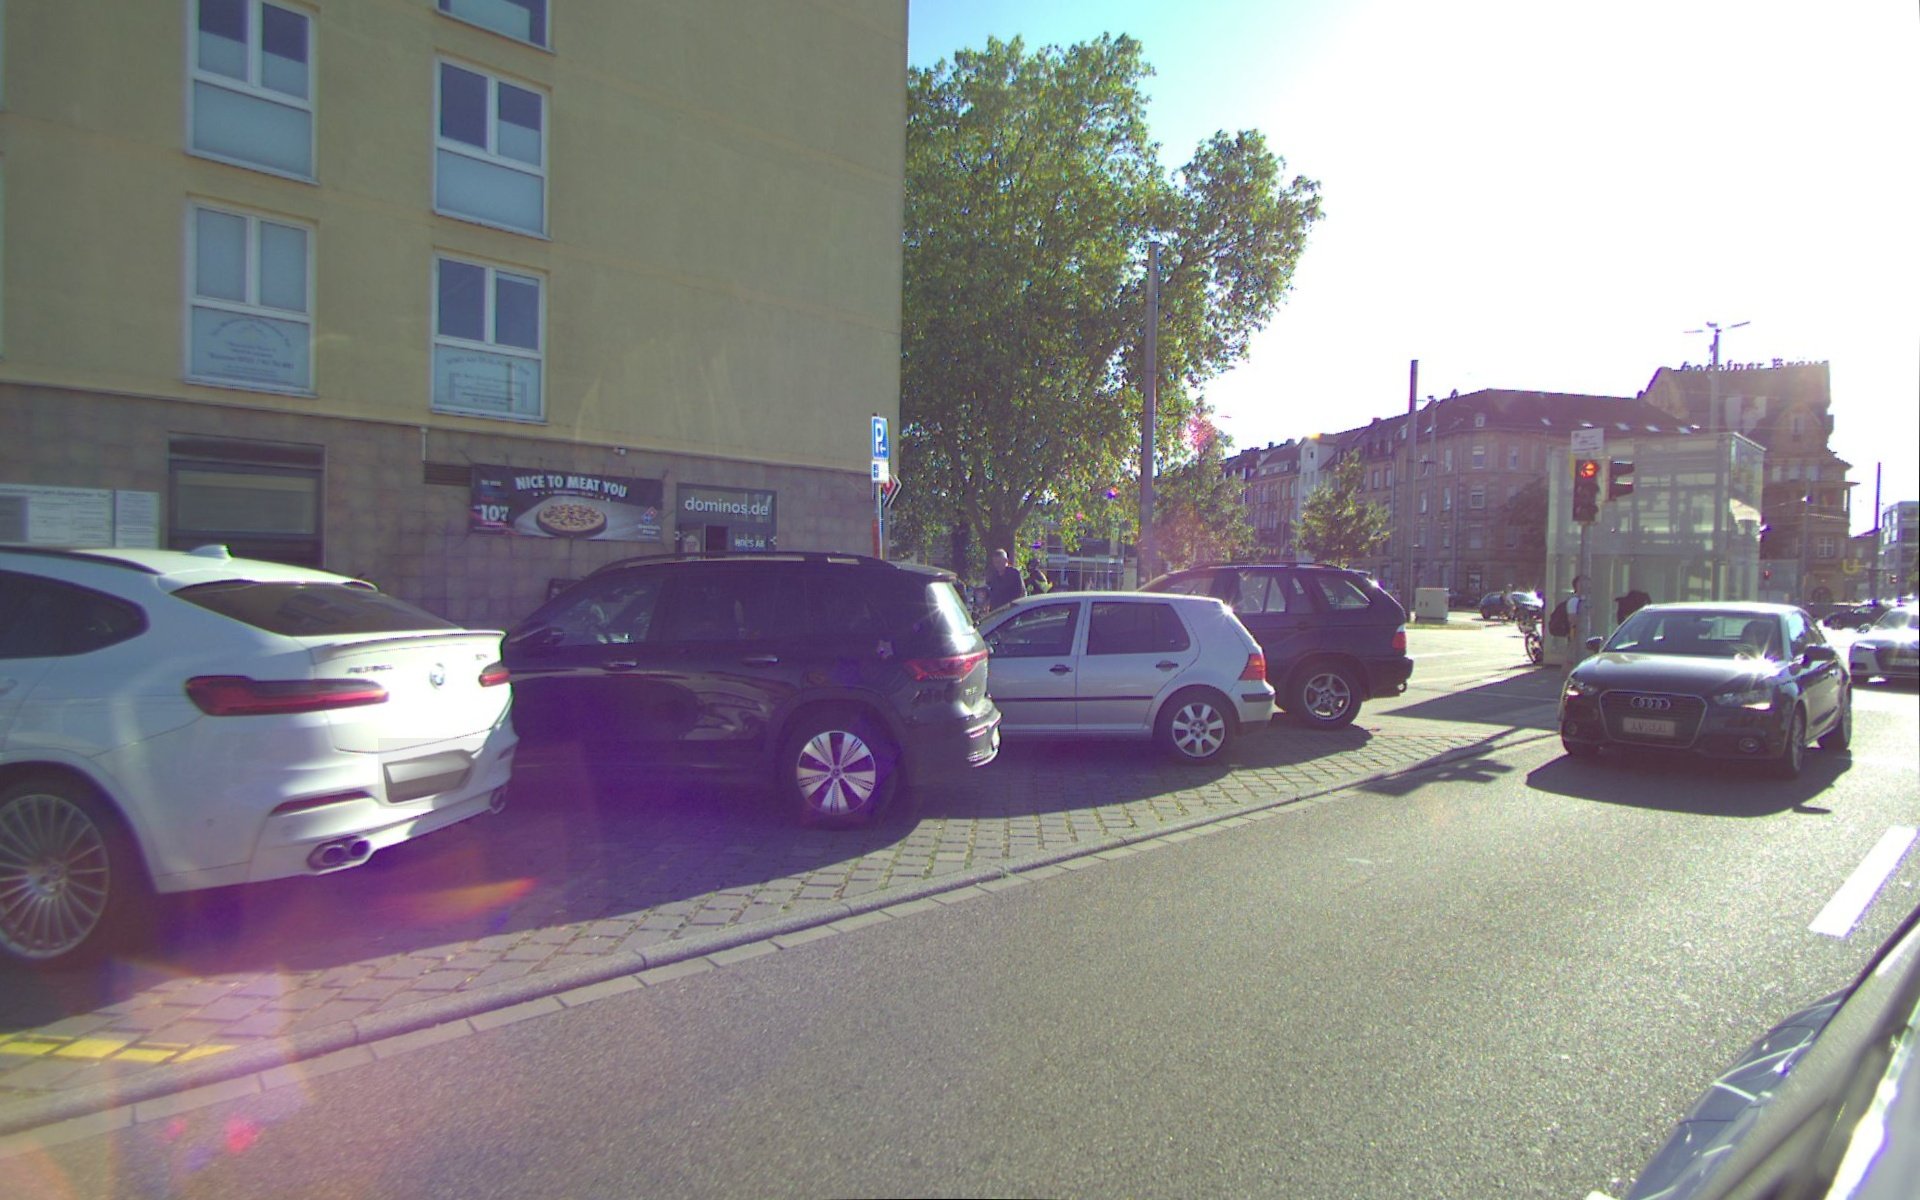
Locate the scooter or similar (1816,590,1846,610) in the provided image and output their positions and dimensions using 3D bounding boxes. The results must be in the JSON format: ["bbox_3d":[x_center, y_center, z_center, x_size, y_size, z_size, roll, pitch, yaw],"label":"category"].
[{"bbox_3d":[54.243,-0.011,63.059,0.719,1.215,1.442,3,1,10],"label":"scooter or similar"}]

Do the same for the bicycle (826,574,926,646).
[{"bbox_3d":[-1.556,0.168,18.957,1.869,1.264,0.658,-1,3,-44],"label":"bicycle"}]

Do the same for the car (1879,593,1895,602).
[{"bbox_3d":[175.312,-0.442,191.359,1.746,1.482,3.966,2,0,36],"label":"car"}]

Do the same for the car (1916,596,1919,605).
[{"bbox_3d":[154.173,0.085,161.547,1.746,1.482,3.966,2,0,36],"label":"car"}]

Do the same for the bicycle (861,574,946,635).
[{"bbox_3d":[-1.330,0.077,23.420,1.993,1.264,0.803,4,3,44],"label":"bicycle"}]

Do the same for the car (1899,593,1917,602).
[{"bbox_3d":[166.435,-0.444,177.723,1.746,1.482,3.966,2,0,36],"label":"car"}]

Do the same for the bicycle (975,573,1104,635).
[{"bbox_3d":[1.690,0.090,21.456,2.478,1.137,1.036,4,0,-24],"label":"bicycle"}]

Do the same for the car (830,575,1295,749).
[{"bbox_3d":[0.879,0.514,9.293,3.824,1.417,1.786,-1,0,5],"label":"car"}]

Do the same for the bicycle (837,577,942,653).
[{"bbox_3d":[-1.249,0.241,18.175,1.869,1.264,0.658,-1,3,-44],"label":"bicycle"}]

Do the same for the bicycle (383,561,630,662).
[{"bbox_3d":[-6.296,0.122,14.212,3.010,1.279,0.986,0,2,-43],"label":"bicycle"}]

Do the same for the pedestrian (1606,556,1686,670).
[{"bbox_3d":[10.979,0.187,16.229,0.784,1.749,0.865,1,1,17],"label":"pedestrian"}]

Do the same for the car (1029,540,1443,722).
[{"bbox_3d":[2.938,0.287,11.512,4.180,1.837,1.956,0,0,8],"label":"car"}]

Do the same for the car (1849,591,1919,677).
[{"bbox_3d":[17.708,0.594,18.084,4.374,1.405,1.827,0,2,-37],"label":"car"}]

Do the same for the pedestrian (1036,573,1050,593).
[{"bbox_3d":[6.398,-1.335,78.333,0.709,1.534,0.832,1,1,-32],"label":"pedestrian"}]

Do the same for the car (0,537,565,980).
[{"bbox_3d":[-4.339,0.546,4.813,4.176,1.590,1.958,0,0,5],"label":"car"}]

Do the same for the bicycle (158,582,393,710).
[{"bbox_3d":[-8.132,0.545,12.098,2.187,1.374,0.932,3,0,-38],"label":"bicycle"}]

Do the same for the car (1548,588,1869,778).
[{"bbox_3d":[7.100,0.609,9.468,3.766,1.406,1.692,-1,0,-42],"label":"car"}]

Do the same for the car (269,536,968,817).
[{"bbox_3d":[-2.111,0.416,7.017,4.177,1.618,1.957,0,0,6],"label":"car"}]

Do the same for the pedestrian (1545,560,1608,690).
[{"bbox_3d":[8.644,0.329,14.184,0.693,1.749,0.744,2,1,33],"label":"pedestrian"}]

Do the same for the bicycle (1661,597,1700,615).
[{"bbox_3d":[45.958,0.379,64.579,0.752,1.040,2.109,2,2,-8],"label":"bicycle"}]

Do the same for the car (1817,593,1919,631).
[{"bbox_3d":[43.489,0.535,47.451,1.781,1.510,4.663,-6,2,-21],"label":"car"}]

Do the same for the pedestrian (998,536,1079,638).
[{"bbox_3d":[1.652,-0.266,21.424,1.244,2.039,1.036,4,0,-24],"label":"pedestrian"}]

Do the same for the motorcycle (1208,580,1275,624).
[{"bbox_3d":[7.366,0.025,26.475,1.774,1.059,0.879,-2,4,-44],"label":"motorcycle"}]

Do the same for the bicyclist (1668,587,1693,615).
[{"bbox_3d":[45.970,0.068,64.541,0.752,1.716,0.977,2,1,-8],"label":"bicyclist"}]

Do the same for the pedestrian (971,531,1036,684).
[{"bbox_3d":[0.569,0.086,12.994,0.740,1.889,0.697,1,1,7],"label":"pedestrian"}]

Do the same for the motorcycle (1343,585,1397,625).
[{"bbox_3d":[12.417,0.131,30.629,1.034,1.087,2.254,4,3,34],"label":"motorcycle"}]

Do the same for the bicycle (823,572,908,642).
[{"bbox_3d":[-1.935,0.113,20.414,0.649,1.264,1.896,0,3,-44],"label":"bicycle"}]

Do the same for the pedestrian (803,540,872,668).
[{"bbox_3d":[-1.865,0.048,15.458,0.743,1.889,0.827,1,1,19],"label":"pedestrian"}]

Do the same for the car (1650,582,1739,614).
[{"bbox_3d":[43.650,-0.174,60.262,1.720,1.480,4.030,-5,6,-18],"label":"car"}]

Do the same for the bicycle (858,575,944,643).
[{"bbox_3d":[-1.216,0.153,20.586,0.649,1.264,1.896,0,3,-44],"label":"bicycle"}]

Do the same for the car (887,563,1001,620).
[{"bbox_3d":[-0.603,-0.351,35.258,1.889,1.718,3.996,-3,5,-40],"label":"car"}]

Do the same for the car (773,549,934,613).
[{"bbox_3d":[-2.917,-0.513,28.327,4.157,1.501,1.852,3,1,-44],"label":"car"}]

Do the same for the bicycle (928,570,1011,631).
[{"bbox_3d":[0.208,-0.019,24.763,1.993,1.362,0.803,4,3,44],"label":"bicycle"}]

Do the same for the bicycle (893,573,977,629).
[{"bbox_3d":[-0.612,0.005,24.167,1.993,1.215,0.803,4,3,44],"label":"bicycle"}]
